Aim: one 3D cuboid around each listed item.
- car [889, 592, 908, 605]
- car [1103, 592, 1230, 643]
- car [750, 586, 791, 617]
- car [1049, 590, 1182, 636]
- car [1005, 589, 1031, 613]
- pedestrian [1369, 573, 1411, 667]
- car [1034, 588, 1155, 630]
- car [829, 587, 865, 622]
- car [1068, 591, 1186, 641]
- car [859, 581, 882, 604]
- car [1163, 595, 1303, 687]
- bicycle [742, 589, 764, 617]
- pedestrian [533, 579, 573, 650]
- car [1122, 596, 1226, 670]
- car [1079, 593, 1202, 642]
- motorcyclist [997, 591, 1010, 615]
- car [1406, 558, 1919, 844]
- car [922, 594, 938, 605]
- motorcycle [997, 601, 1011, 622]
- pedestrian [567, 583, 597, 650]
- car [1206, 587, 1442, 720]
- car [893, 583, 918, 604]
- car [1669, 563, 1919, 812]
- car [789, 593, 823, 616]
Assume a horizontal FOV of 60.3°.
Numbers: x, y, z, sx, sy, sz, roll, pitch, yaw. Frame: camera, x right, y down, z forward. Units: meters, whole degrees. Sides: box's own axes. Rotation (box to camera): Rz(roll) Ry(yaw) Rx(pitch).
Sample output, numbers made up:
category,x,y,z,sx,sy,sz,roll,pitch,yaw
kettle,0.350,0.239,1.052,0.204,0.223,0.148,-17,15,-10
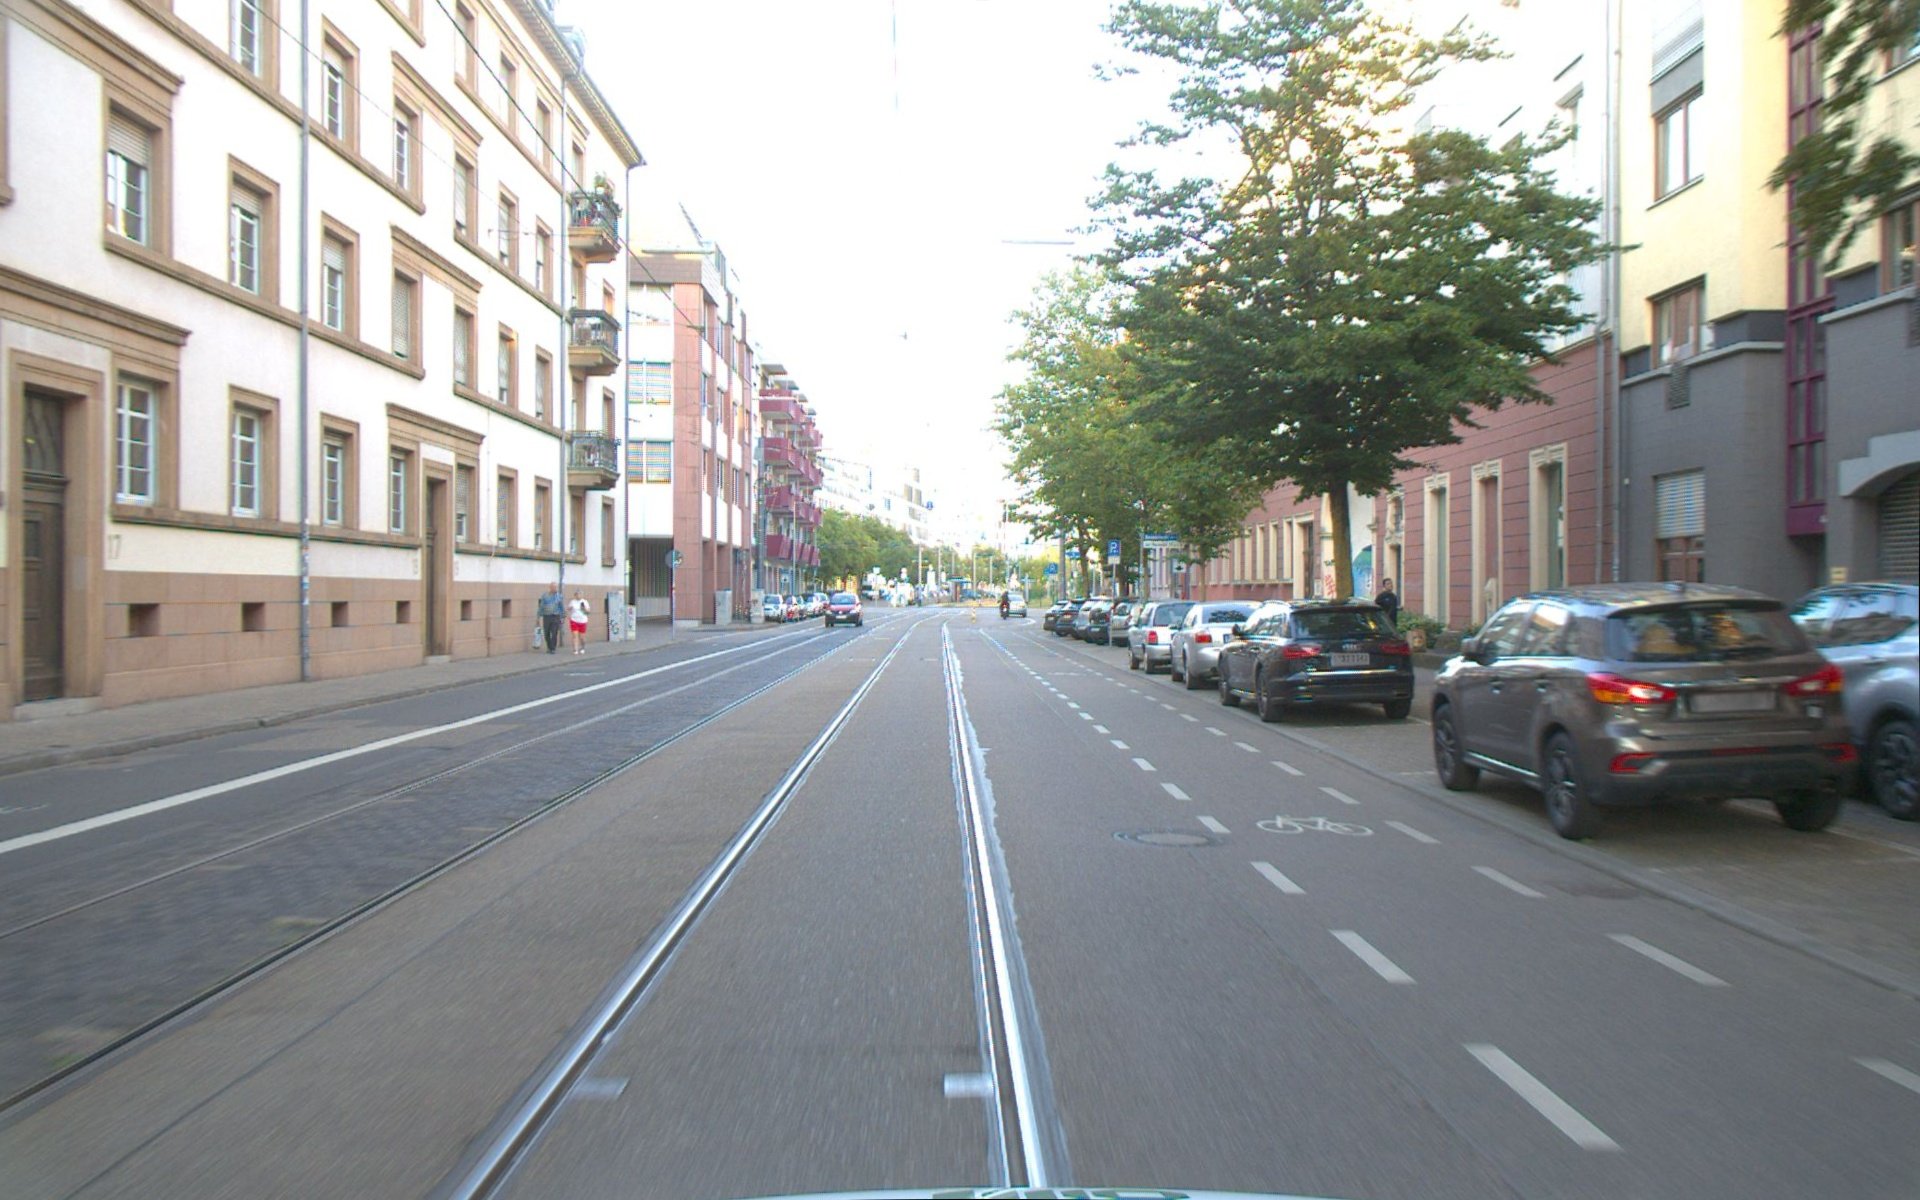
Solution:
category,x,y,z,sx,sy,sz,roll,pitch,yaw
car,-7.087,-0.151,191.209,1.647,1.464,4.129,0,0,6
car,6.218,0.525,49.835,3.431,1.454,1.611,0,-1,-20
car,-10.098,0.055,88.357,1.682,1.583,4.203,1,0,0
car,5.616,0.450,59.795,4.386,1.543,2.048,-1,0,-24
car,4.012,0.053,114.285,1.681,1.583,4.204,1,0,1
pedestrian,8.489,0.391,32.663,0.666,1.848,0.600,0,0,0
car,5.350,0.358,65.782,4.547,1.482,1.697,-2,1,-26
car,-5.352,0.216,78.450,1.528,1.585,3.753,-1,0,-2
car,5.508,0.504,54.642,3.512,1.543,1.729,-1,0,-26
car,-12.651,-1.027,233.507,2.154,3.207,6.147,0,0,7
car,4.648,0.647,28.788,1.743,1.405,4.692,-2,0,1
bicycle,-10.468,0.147,83.743,0.595,1.402,2.260,0,0,7
pedestrian,-9.967,0.347,40.505,0.779,1.731,0.981,0,0,-3
car,4.402,0.645,34.437,1.586,1.405,3.775,-2,0,-1
car,5.686,0.530,51.954,3.512,1.454,1.655,-1,0,-26
motorcyclist,2.735,0.156,103.495,0.811,1.499,1.207,0,0,2
car,4.844,0.599,12.161,1.842,1.646,4.261,-3,0,-1
car,-3.902,-0.094,216.212,1.647,1.464,4.129,0,0,6
motorcycle,2.733,0.720,103.346,0.811,1.261,2.492,0,0,2
pedestrian,-9.269,0.403,40.550,0.579,1.638,0.811,0,0,-3
car,4.612,0.619,21.764,1.953,1.515,5.035,-1,0,0
car,-6.479,-0.761,196.940,2.409,2.526,5.810,0,0,3
car,7.088,0.552,12.299,1.841,1.612,4.019,0,0,-1
car,-10.103,0.265,108.755,1.656,1.438,4.678,2,0,2
